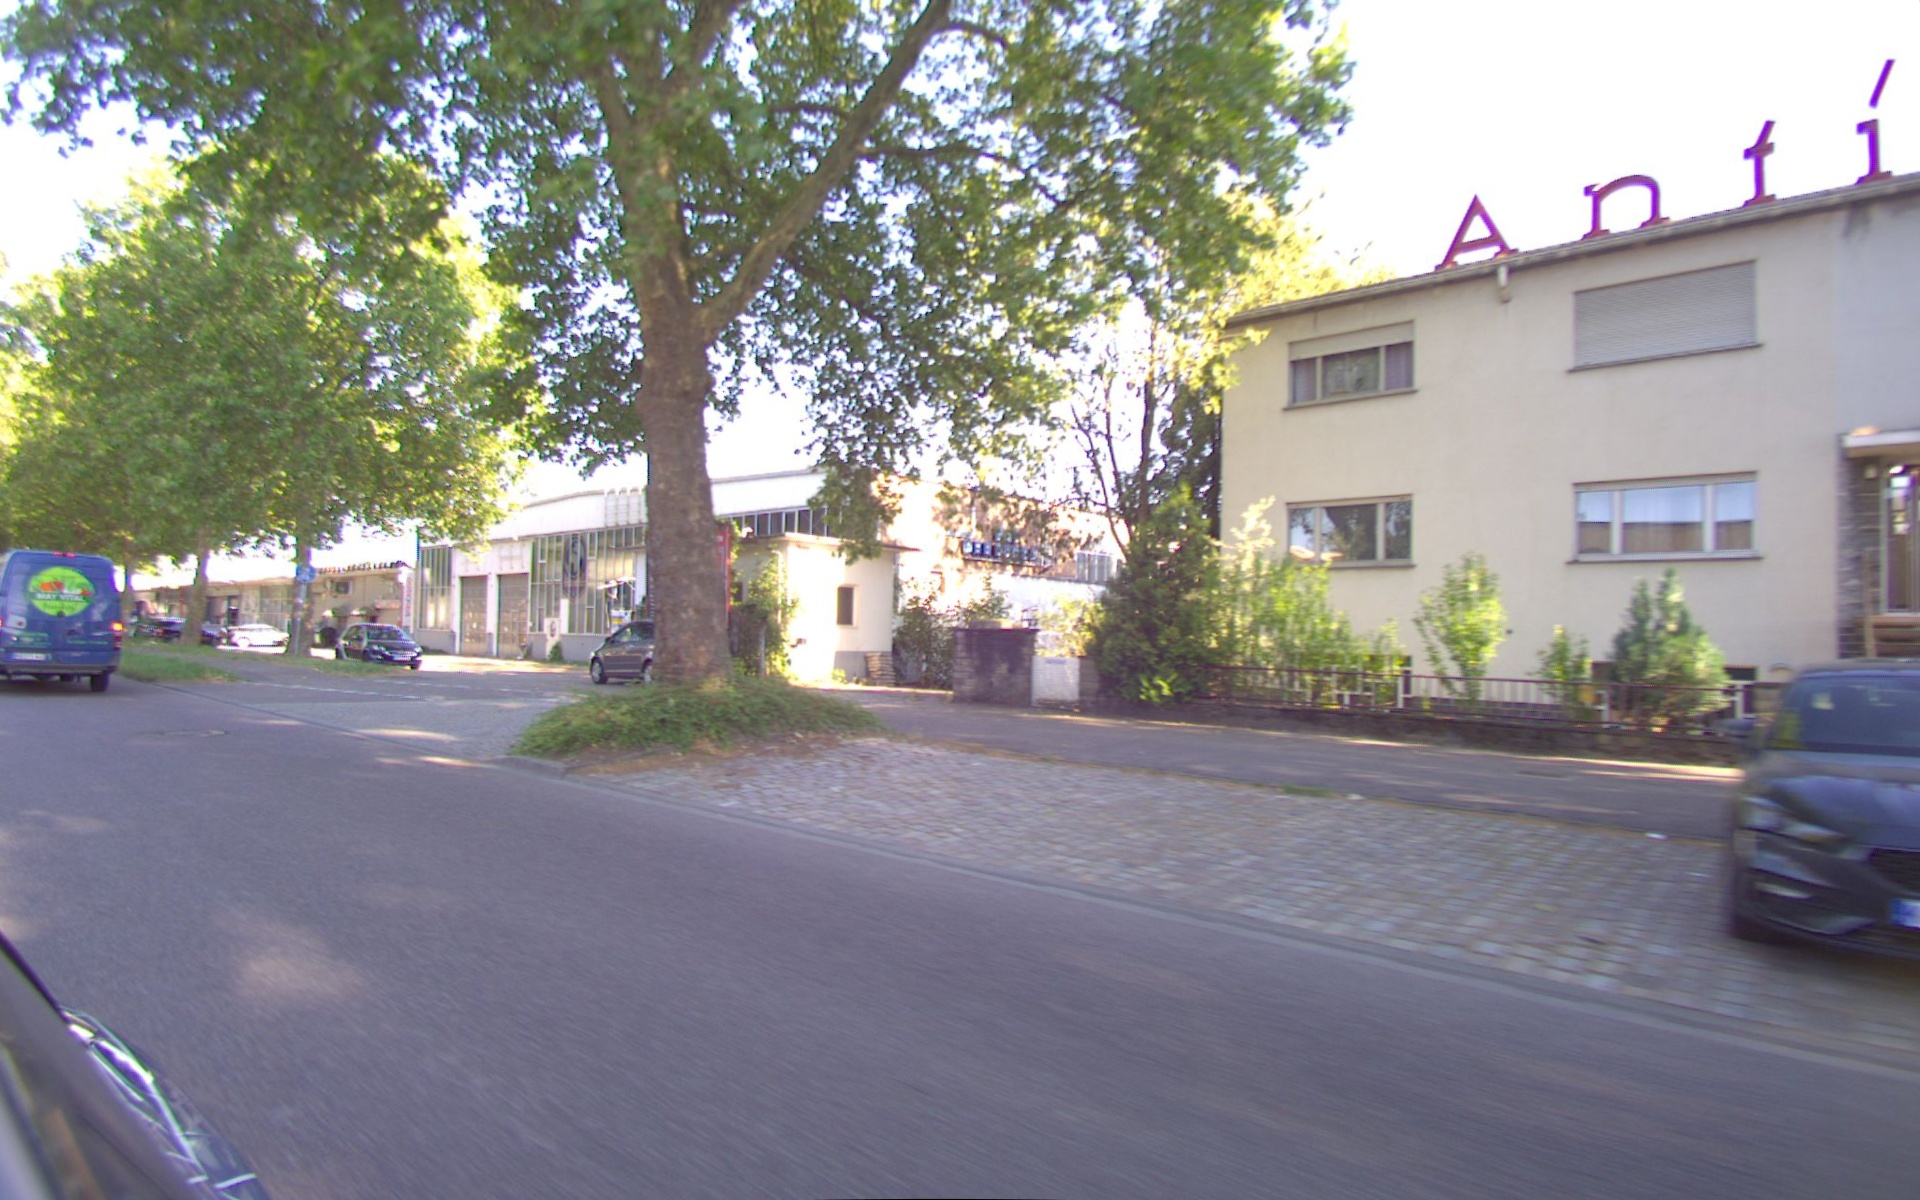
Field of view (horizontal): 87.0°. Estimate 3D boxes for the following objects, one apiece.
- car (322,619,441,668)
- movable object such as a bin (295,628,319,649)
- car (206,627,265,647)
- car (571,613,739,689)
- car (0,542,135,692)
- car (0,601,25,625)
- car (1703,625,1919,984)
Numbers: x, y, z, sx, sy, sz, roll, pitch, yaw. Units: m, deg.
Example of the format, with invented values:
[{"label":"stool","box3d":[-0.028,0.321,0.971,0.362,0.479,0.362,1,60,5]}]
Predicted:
[{"label":"car","box3d":[-19.191,1.443,33.526,3.914,1.380,1.975,0,-6,37]},{"label":"movable object such as a bin","box3d":[-46.728,2.770,72.423,1.572,1.442,1.045,0,0,39]},{"label":"car","box3d":[-54.495,2.762,76.159,3.244,1.417,1.713,0,0,-10]},{"label":"car","box3d":[-7.320,1.128,24.089,4.273,1.588,1.972,0,0,43]},{"label":"car","box3d":[-19.244,0.378,21.015,6.998,2.680,2.105,-1,-3,42]},{"label":"car","box3d":[-121.789,1.504,126.405,2.576,2.875,6.929,0,-5,13]},{"label":"car","box3d":[5.440,0.866,5.554,1.998,1.433,4.310,-1,-2,39]}]
